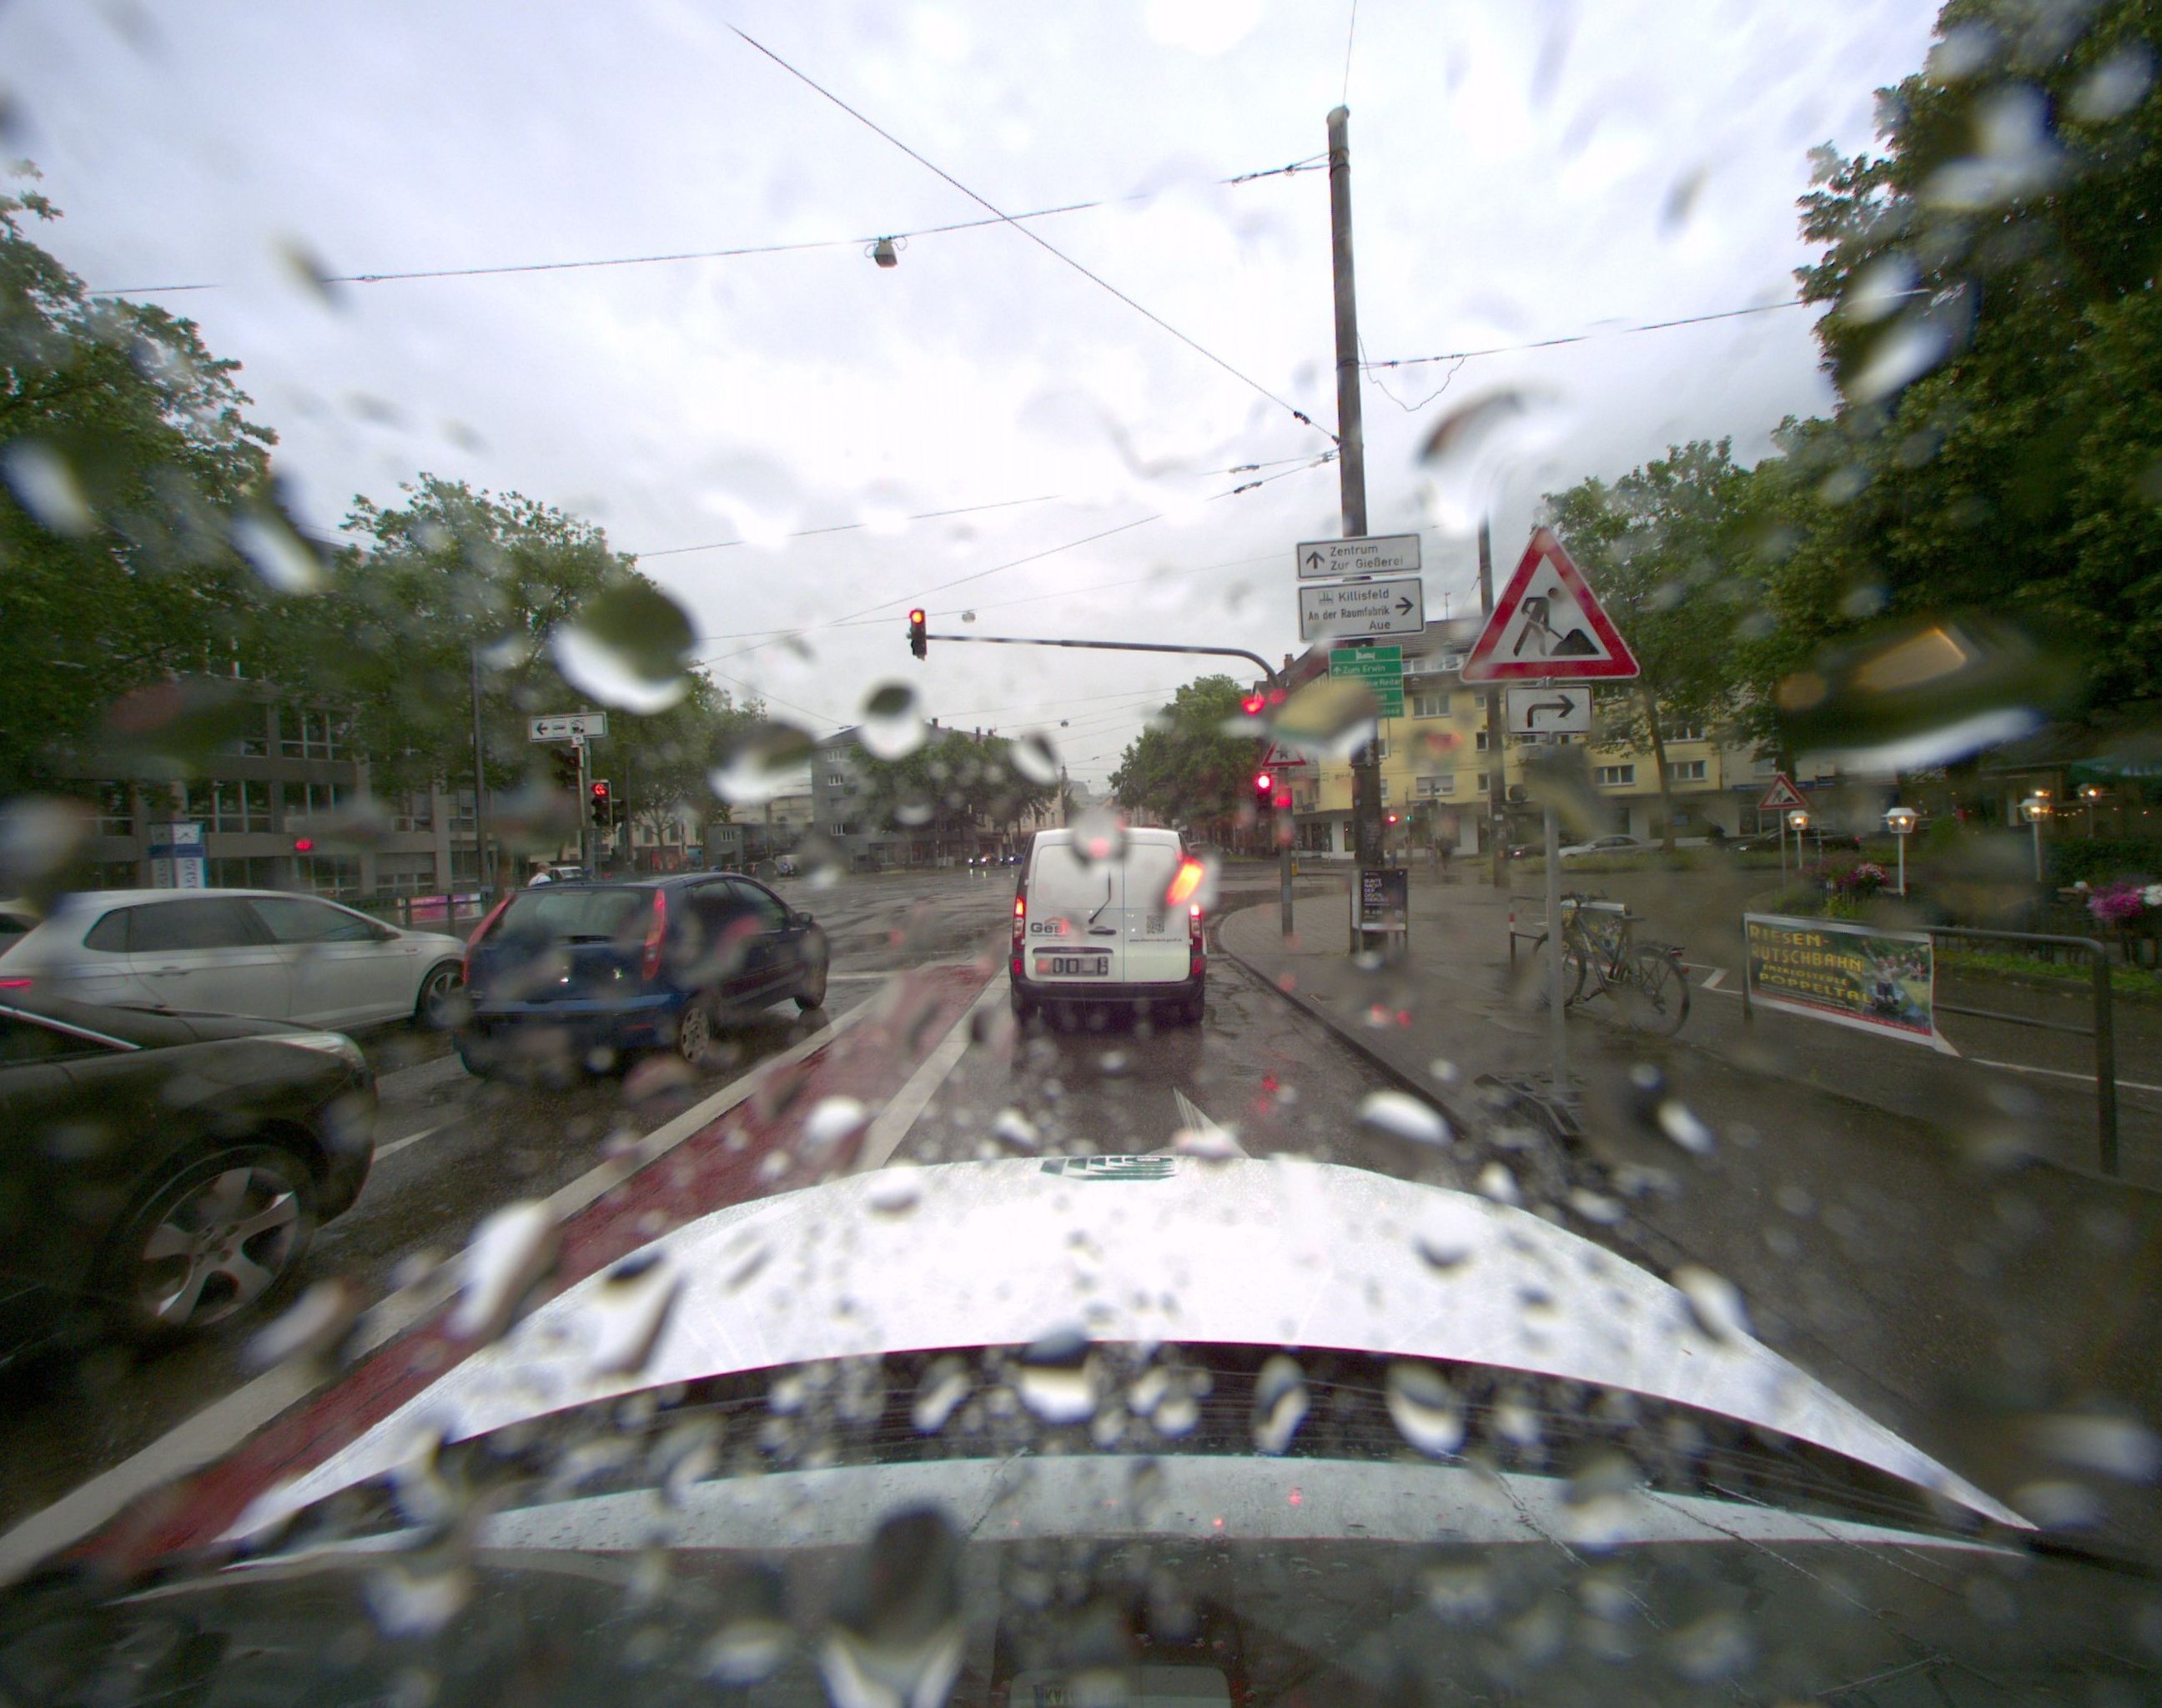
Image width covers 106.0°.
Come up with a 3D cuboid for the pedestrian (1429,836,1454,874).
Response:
[{"bbox_3d":[16.399,0.054,37.003,0.895,1.669,1.026,-1,0,31],"label":"pedestrian"}]

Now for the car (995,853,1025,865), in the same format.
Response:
[{"bbox_3d":[-8.102,0.537,93.797,1.935,1.239,4.020,-1,1,19],"label":"car"}]

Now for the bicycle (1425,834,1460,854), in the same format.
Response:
[{"bbox_3d":[24.320,-0.674,54.837,2.085,1.261,0.534,-1,1,16],"label":"bicycle"}]

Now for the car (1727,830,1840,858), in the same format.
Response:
[{"bbox_3d":[29.277,-0.389,34.014,3.511,1.082,1.248,-1,0,4],"label":"car"}]

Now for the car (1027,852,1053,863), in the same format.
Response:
[{"bbox_3d":[-5.148,0.420,103.049,1.935,1.239,4.020,-1,1,19],"label":"car"}]

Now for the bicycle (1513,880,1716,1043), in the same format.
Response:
[{"bbox_3d":[4.481,0.828,7.032,0.512,1.107,2.019,1,0,3],"label":"bicycle"}]

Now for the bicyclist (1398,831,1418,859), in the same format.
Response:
[{"bbox_3d":[19.050,-0.517,47.402,0.925,1.547,1.075,-1,0,28],"label":"bicyclist"}]

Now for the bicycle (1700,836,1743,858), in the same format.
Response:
[{"bbox_3d":[29.309,-0.326,37.270,1.631,1.002,0.422,-1,0,2],"label":"bicycle"}]

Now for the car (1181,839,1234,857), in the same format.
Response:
[{"bbox_3d":[10.694,-0.521,68.862,4.160,1.338,1.518,-2,1,-6],"label":"car"}]

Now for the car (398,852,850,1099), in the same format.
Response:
[{"bbox_3d":[-3.517,0.789,7.199,1.720,1.578,3.822,-1,0,2],"label":"car"}]

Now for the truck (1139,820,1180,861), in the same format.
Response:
[{"bbox_3d":[10.816,-1.661,109.816,3.446,5.087,15.361,-1,0,13],"label":"truck"}]

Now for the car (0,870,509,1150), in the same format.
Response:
[{"bbox_3d":[-6.757,0.930,6.484,1.623,1.494,3.783,-1,0,2],"label":"car"}]

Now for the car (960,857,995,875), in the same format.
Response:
[{"bbox_3d":[-10.729,1.255,84.581,1.935,1.607,4.020,-1,1,19],"label":"car"}]

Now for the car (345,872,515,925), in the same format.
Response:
[{"bbox_3d":[-18.603,1.225,23.472,1.582,1.314,3.538,-1,0,16],"label":"car"}]

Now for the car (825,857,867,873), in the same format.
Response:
[{"bbox_3d":[-25.237,1.170,87.618,1.975,1.530,4.025,-1,2,29],"label":"car"}]

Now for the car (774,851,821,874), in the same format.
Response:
[{"bbox_3d":[-30.765,0.904,88.407,1.975,2.198,4.816,0,2,25],"label":"car"}]

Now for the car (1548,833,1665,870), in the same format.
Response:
[{"bbox_3d":[22.628,-0.110,35.228,3.906,1.490,1.815,-1,1,17],"label":"car"}]

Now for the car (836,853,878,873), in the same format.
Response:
[{"bbox_3d":[-23.425,0.940,85.444,1.975,2.013,4.025,-1,0,29],"label":"car"}]

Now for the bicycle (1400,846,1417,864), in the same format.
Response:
[{"bbox_3d":[19.059,0.043,47.423,0.651,1.027,2.036,-1,0,29],"label":"bicycle"}]

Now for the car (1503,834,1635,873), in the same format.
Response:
[{"bbox_3d":[22.853,-0.005,38.355,4.902,1.643,2.007,-1,-3,14],"label":"car"}]

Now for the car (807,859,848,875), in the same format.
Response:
[{"bbox_3d":[-27.526,1.376,88.477,1.935,1.496,4.025,-1,2,29],"label":"car"}]

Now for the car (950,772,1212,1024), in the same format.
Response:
[{"bbox_3d":[0.079,0.372,9.156,2.092,2.012,4.965,-2,0,2],"label":"car"}]

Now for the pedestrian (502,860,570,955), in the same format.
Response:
[{"bbox_3d":[-9.482,0.917,14.192,0.621,1.607,0.744,-1,0,9],"label":"pedestrian"}]

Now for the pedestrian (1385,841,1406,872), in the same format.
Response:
[{"bbox_3d":[15.788,0.129,40.836,0.820,1.534,0.616,-1,0,-37],"label":"pedestrian"}]

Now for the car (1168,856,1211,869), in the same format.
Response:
[{"bbox_3d":[9.423,0.734,71.005,3.437,1.130,1.468,-1,0,-6],"label":"car"}]

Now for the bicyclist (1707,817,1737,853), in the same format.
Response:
[{"bbox_3d":[29.322,-0.881,37.278,0.810,1.615,0.711,-1,0,2],"label":"bicyclist"}]

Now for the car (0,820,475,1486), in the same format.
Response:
[{"bbox_3d":[-3.653,0.765,1.504,1.827,1.668,4.174,-1,0,2],"label":"car"}]
